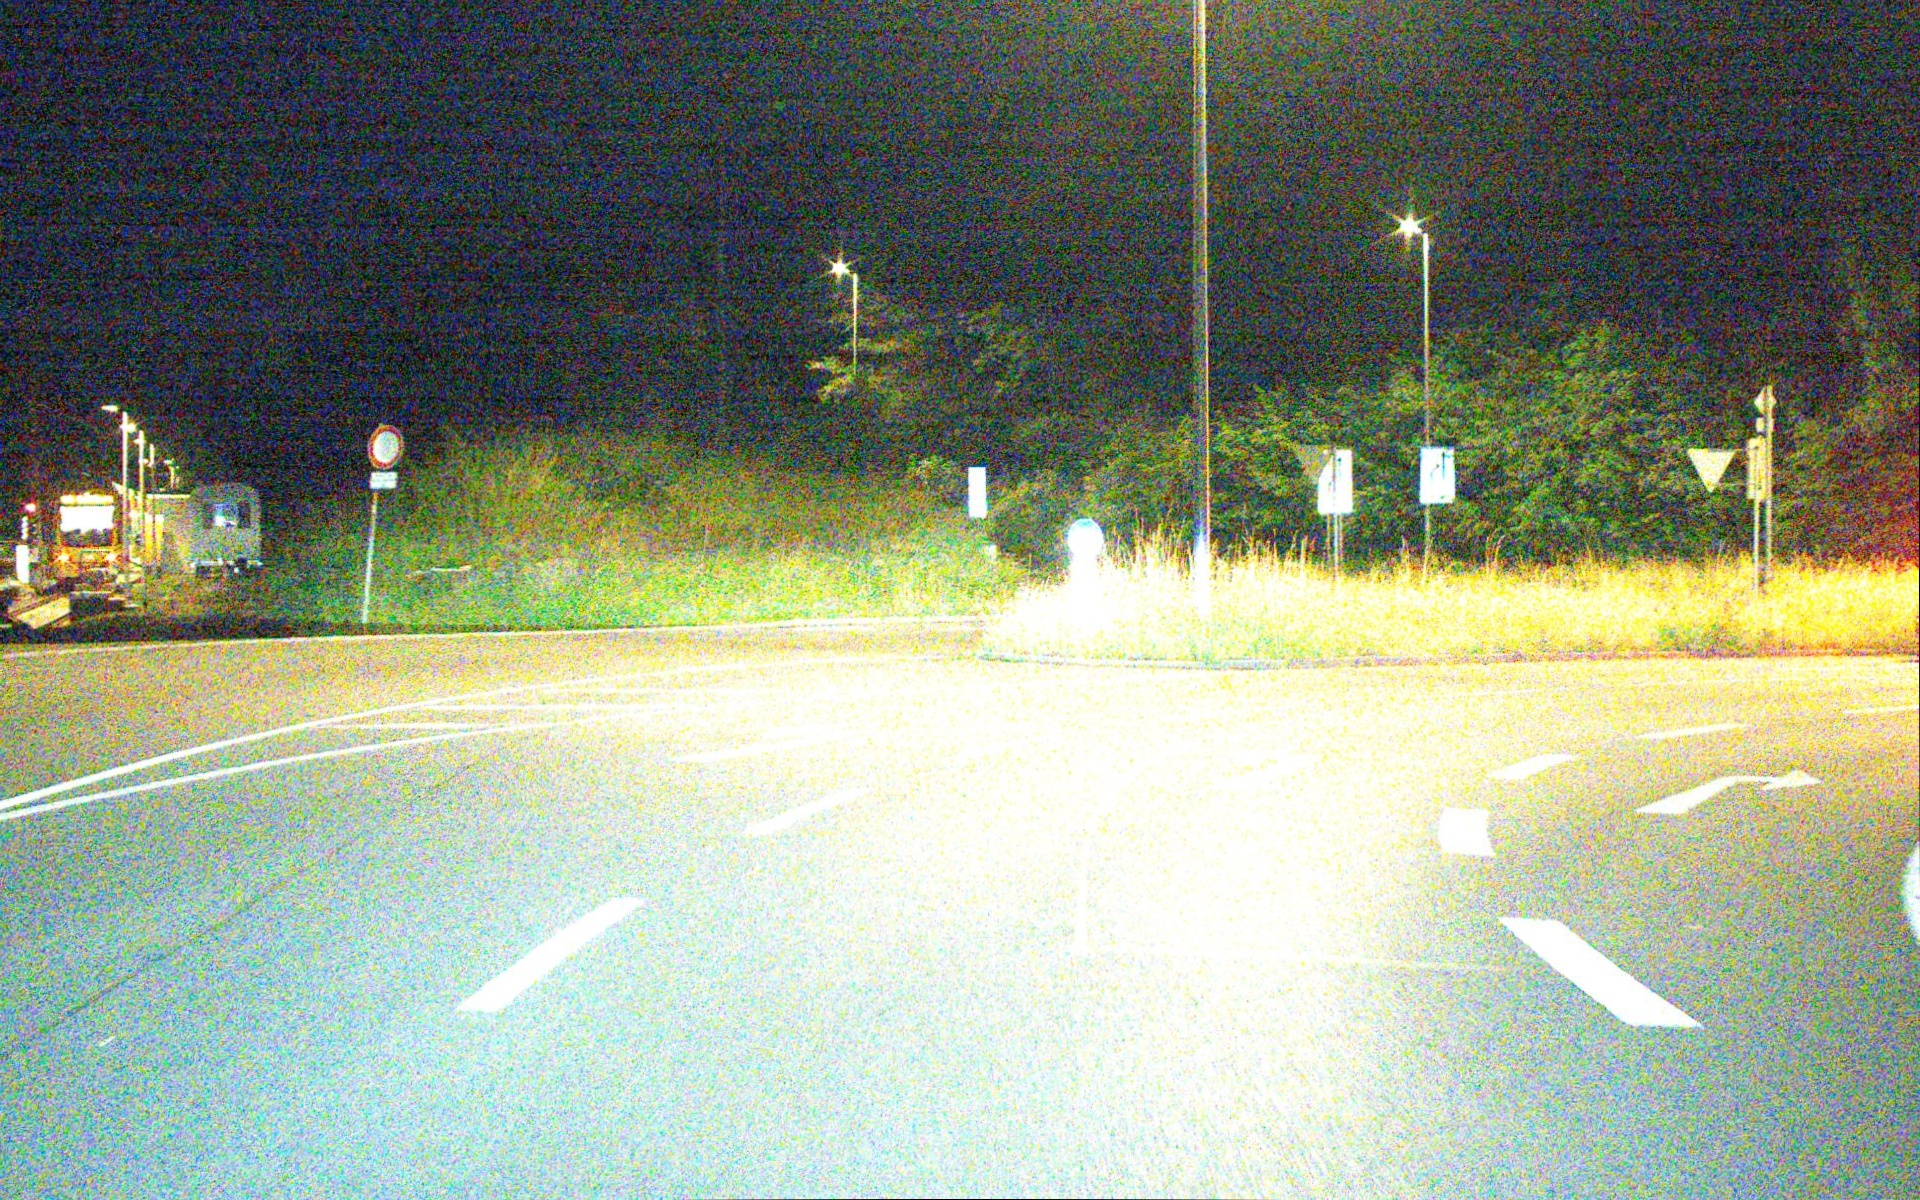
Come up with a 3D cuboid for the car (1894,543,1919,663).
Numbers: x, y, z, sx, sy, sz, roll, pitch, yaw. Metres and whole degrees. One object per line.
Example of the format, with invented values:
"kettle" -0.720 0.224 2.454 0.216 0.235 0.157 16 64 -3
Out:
"car" 14.566 0.093 46.196 3.995 1.577 1.857 1 2 -39
